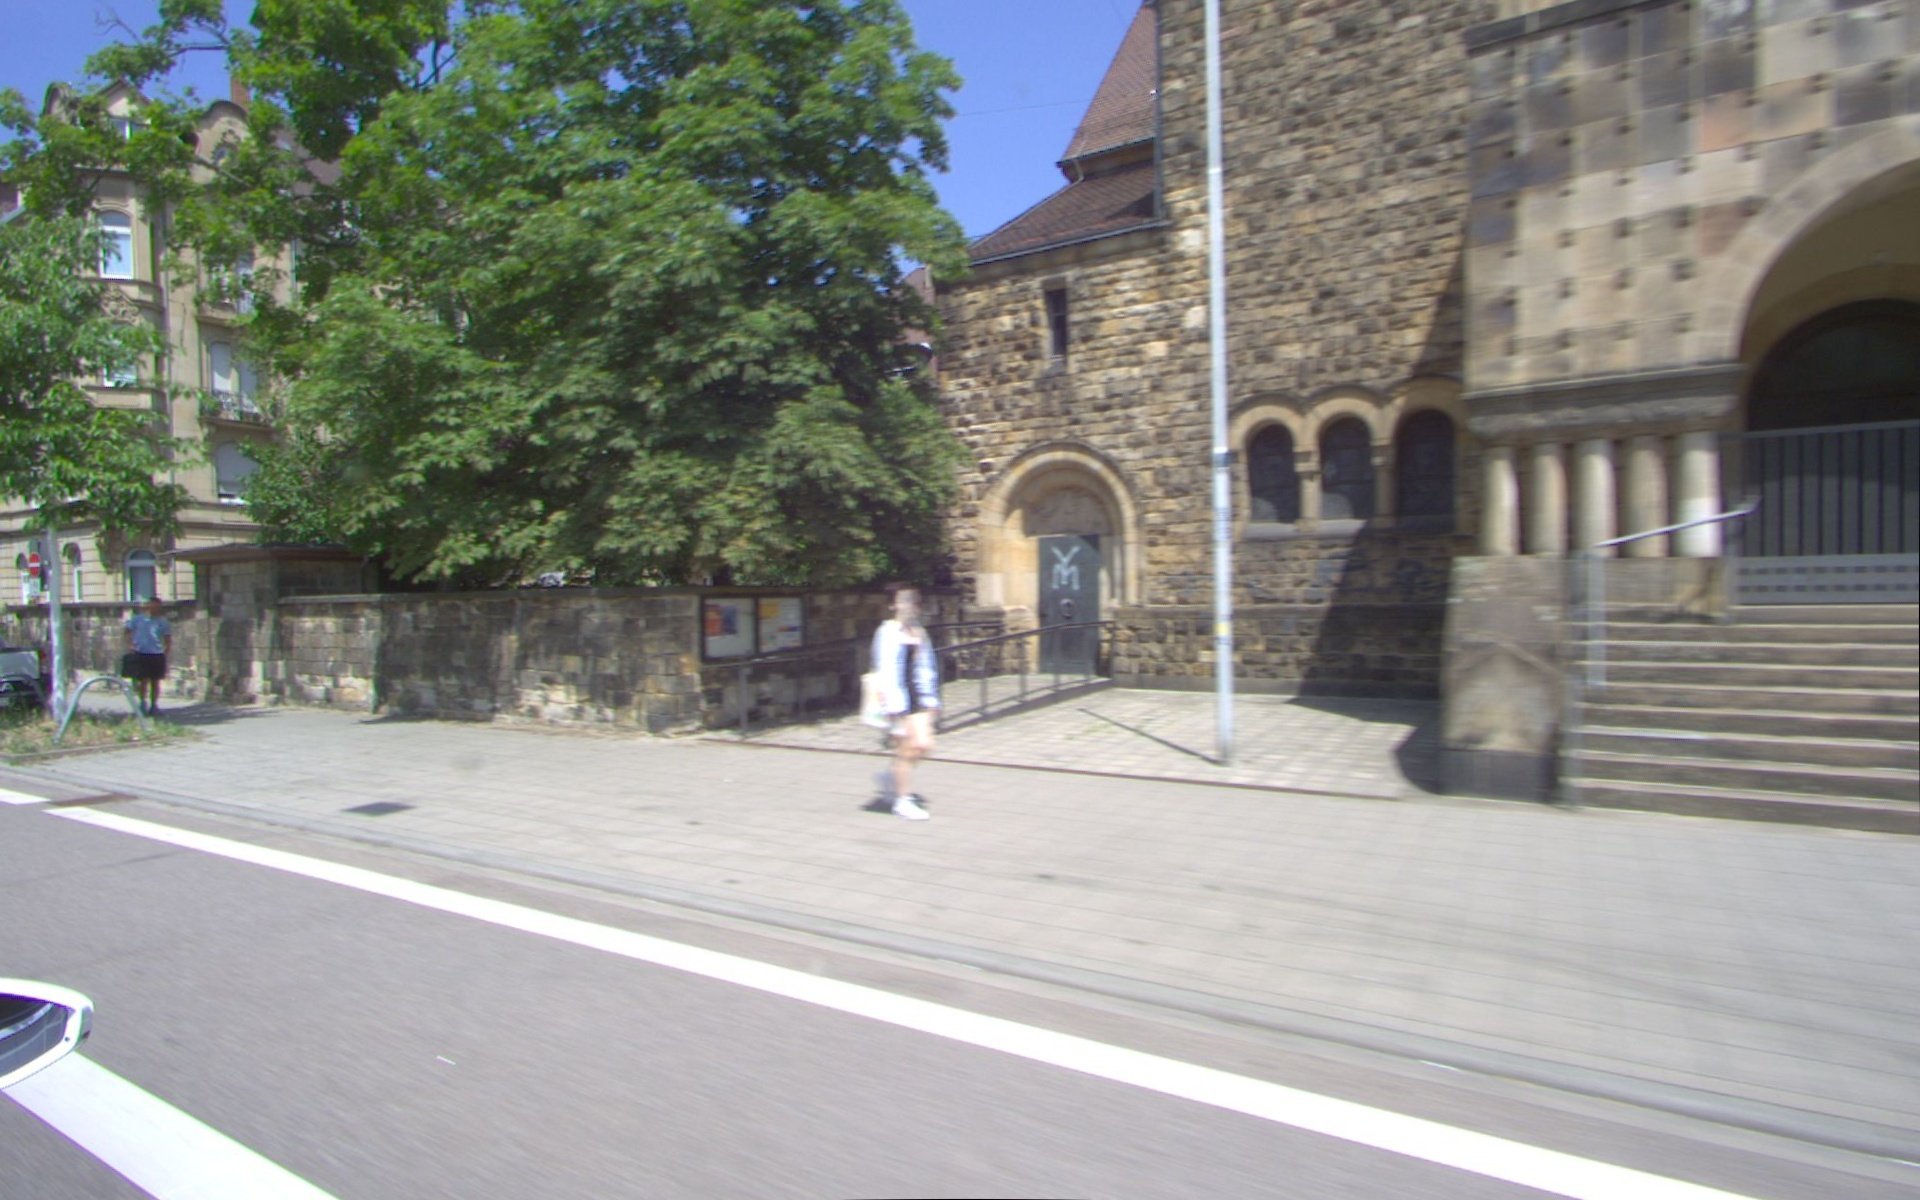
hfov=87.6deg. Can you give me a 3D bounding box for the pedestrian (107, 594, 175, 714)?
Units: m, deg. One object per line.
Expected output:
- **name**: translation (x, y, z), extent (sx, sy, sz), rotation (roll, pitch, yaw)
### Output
- **pedestrian**: translation (-12.513, 0.810, 15.302), extent (0.669, 1.778, 0.620), rotation (0, 0, 33)

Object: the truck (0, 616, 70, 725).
- **truck**: translation (-15.593, 1.028, 15.321), extent (4.401, 1.546, 1.786), rotation (-1, 0, 32)

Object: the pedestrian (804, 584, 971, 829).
- **pedestrian**: translation (-0.535, 0.737, 7.436), extent (0.953, 1.672, 0.792), rotation (0, 0, 33)
